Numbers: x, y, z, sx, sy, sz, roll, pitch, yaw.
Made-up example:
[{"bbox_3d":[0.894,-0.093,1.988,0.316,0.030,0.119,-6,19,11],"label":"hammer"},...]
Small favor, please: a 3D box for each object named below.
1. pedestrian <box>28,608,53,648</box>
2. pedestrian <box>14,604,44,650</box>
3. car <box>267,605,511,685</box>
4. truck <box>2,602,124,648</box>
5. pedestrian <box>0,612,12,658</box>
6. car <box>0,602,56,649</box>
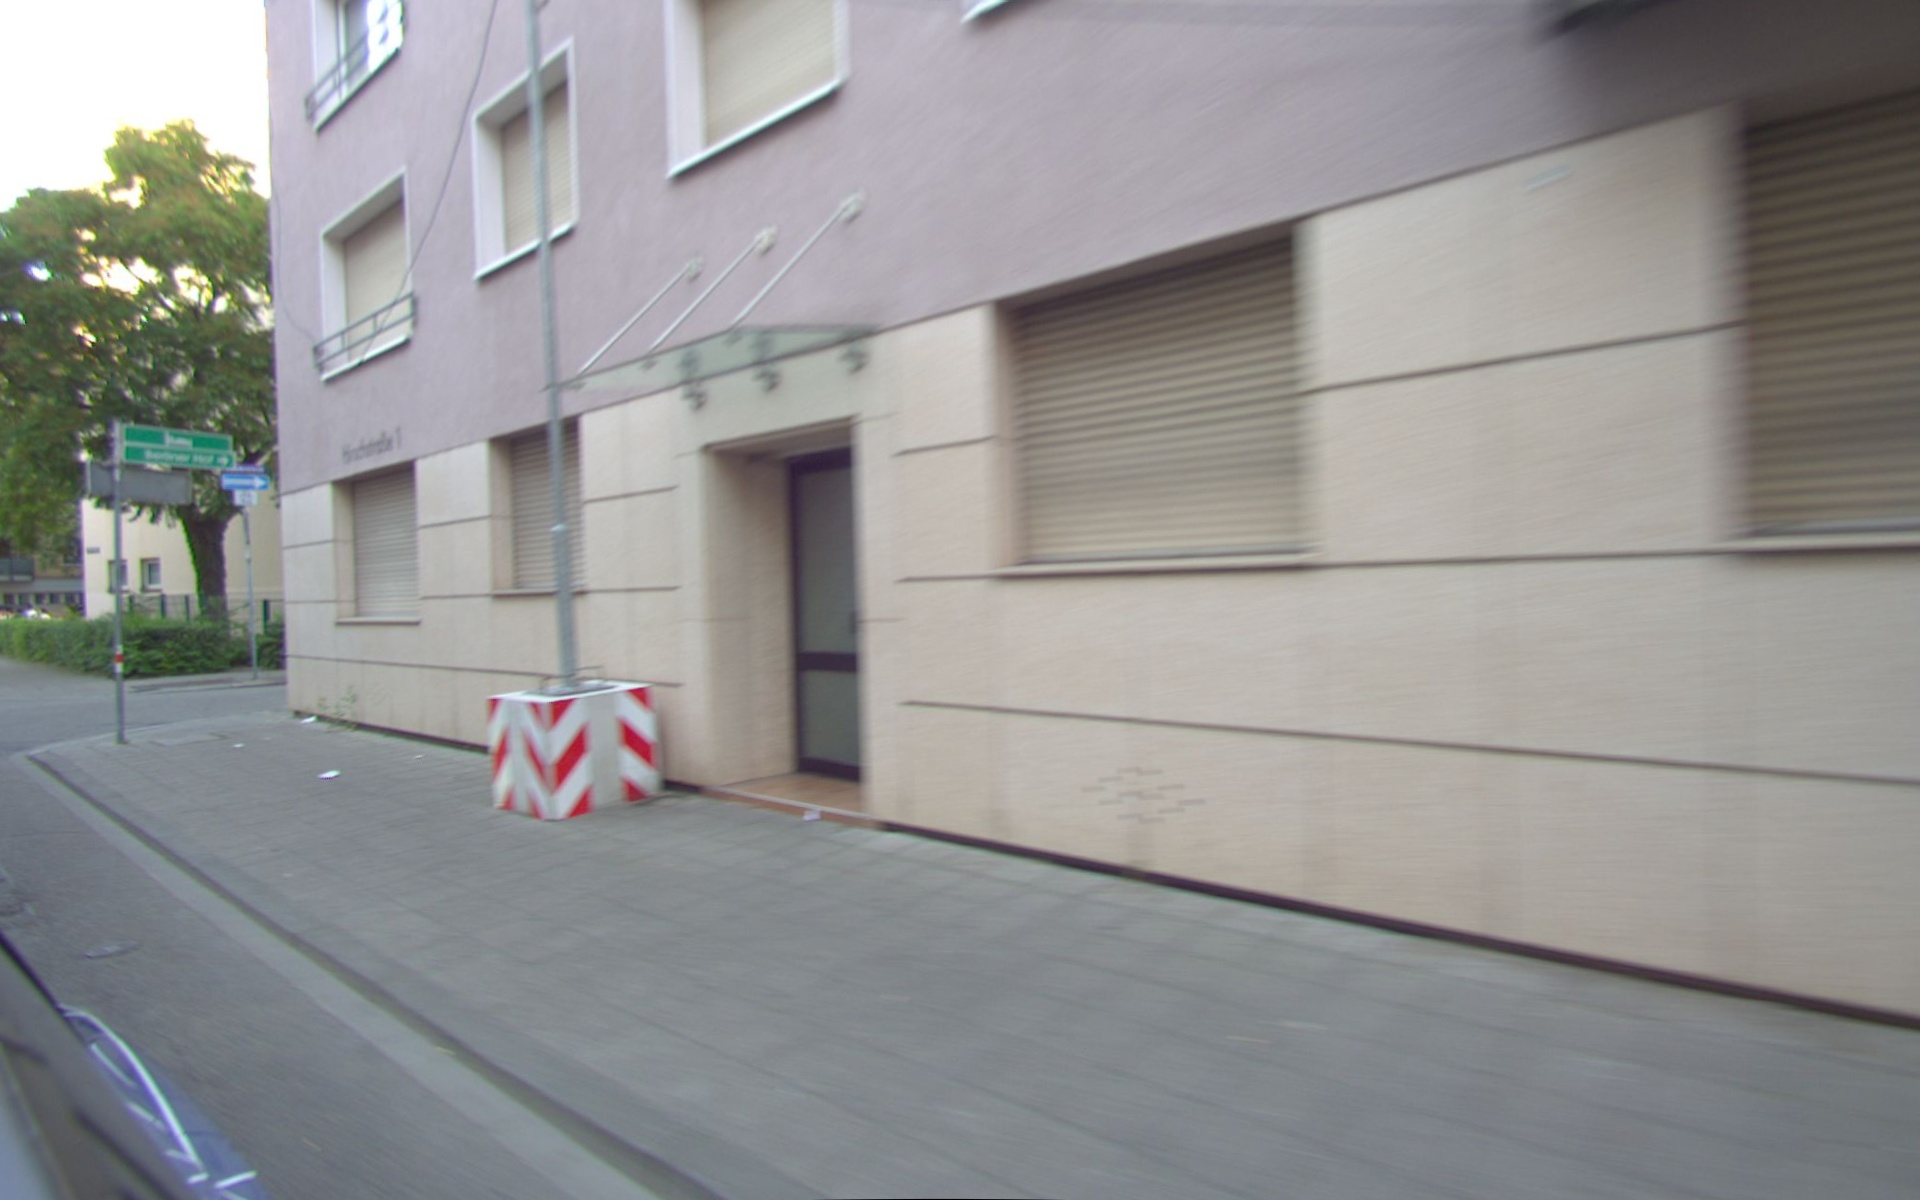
[{"bbox_3d":[-36.699,1.117,40.392,0.657,1.583,0.445,-1,0,23],"label":"pedestrian"},{"bbox_3d":[-37.619,1.091,40.894,0.694,1.801,0.660,-2,0,23],"label":"pedestrian"},{"bbox_3d":[-12.240,0.904,21.933,1.684,1.469,4.302,-1,0,39],"label":"car"},{"bbox_3d":[-48.013,1.292,54.184,5.976,2.149,2.247,2,1,19],"label":"truck"},{"bbox_3d":[-38.544,1.414,40.528,0.687,1.801,0.531,-2,0,-22],"label":"pedestrian"},{"bbox_3d":[-48.655,1.251,51.497,4.599,2.149,2.024,2,1,19],"label":"car"}]
